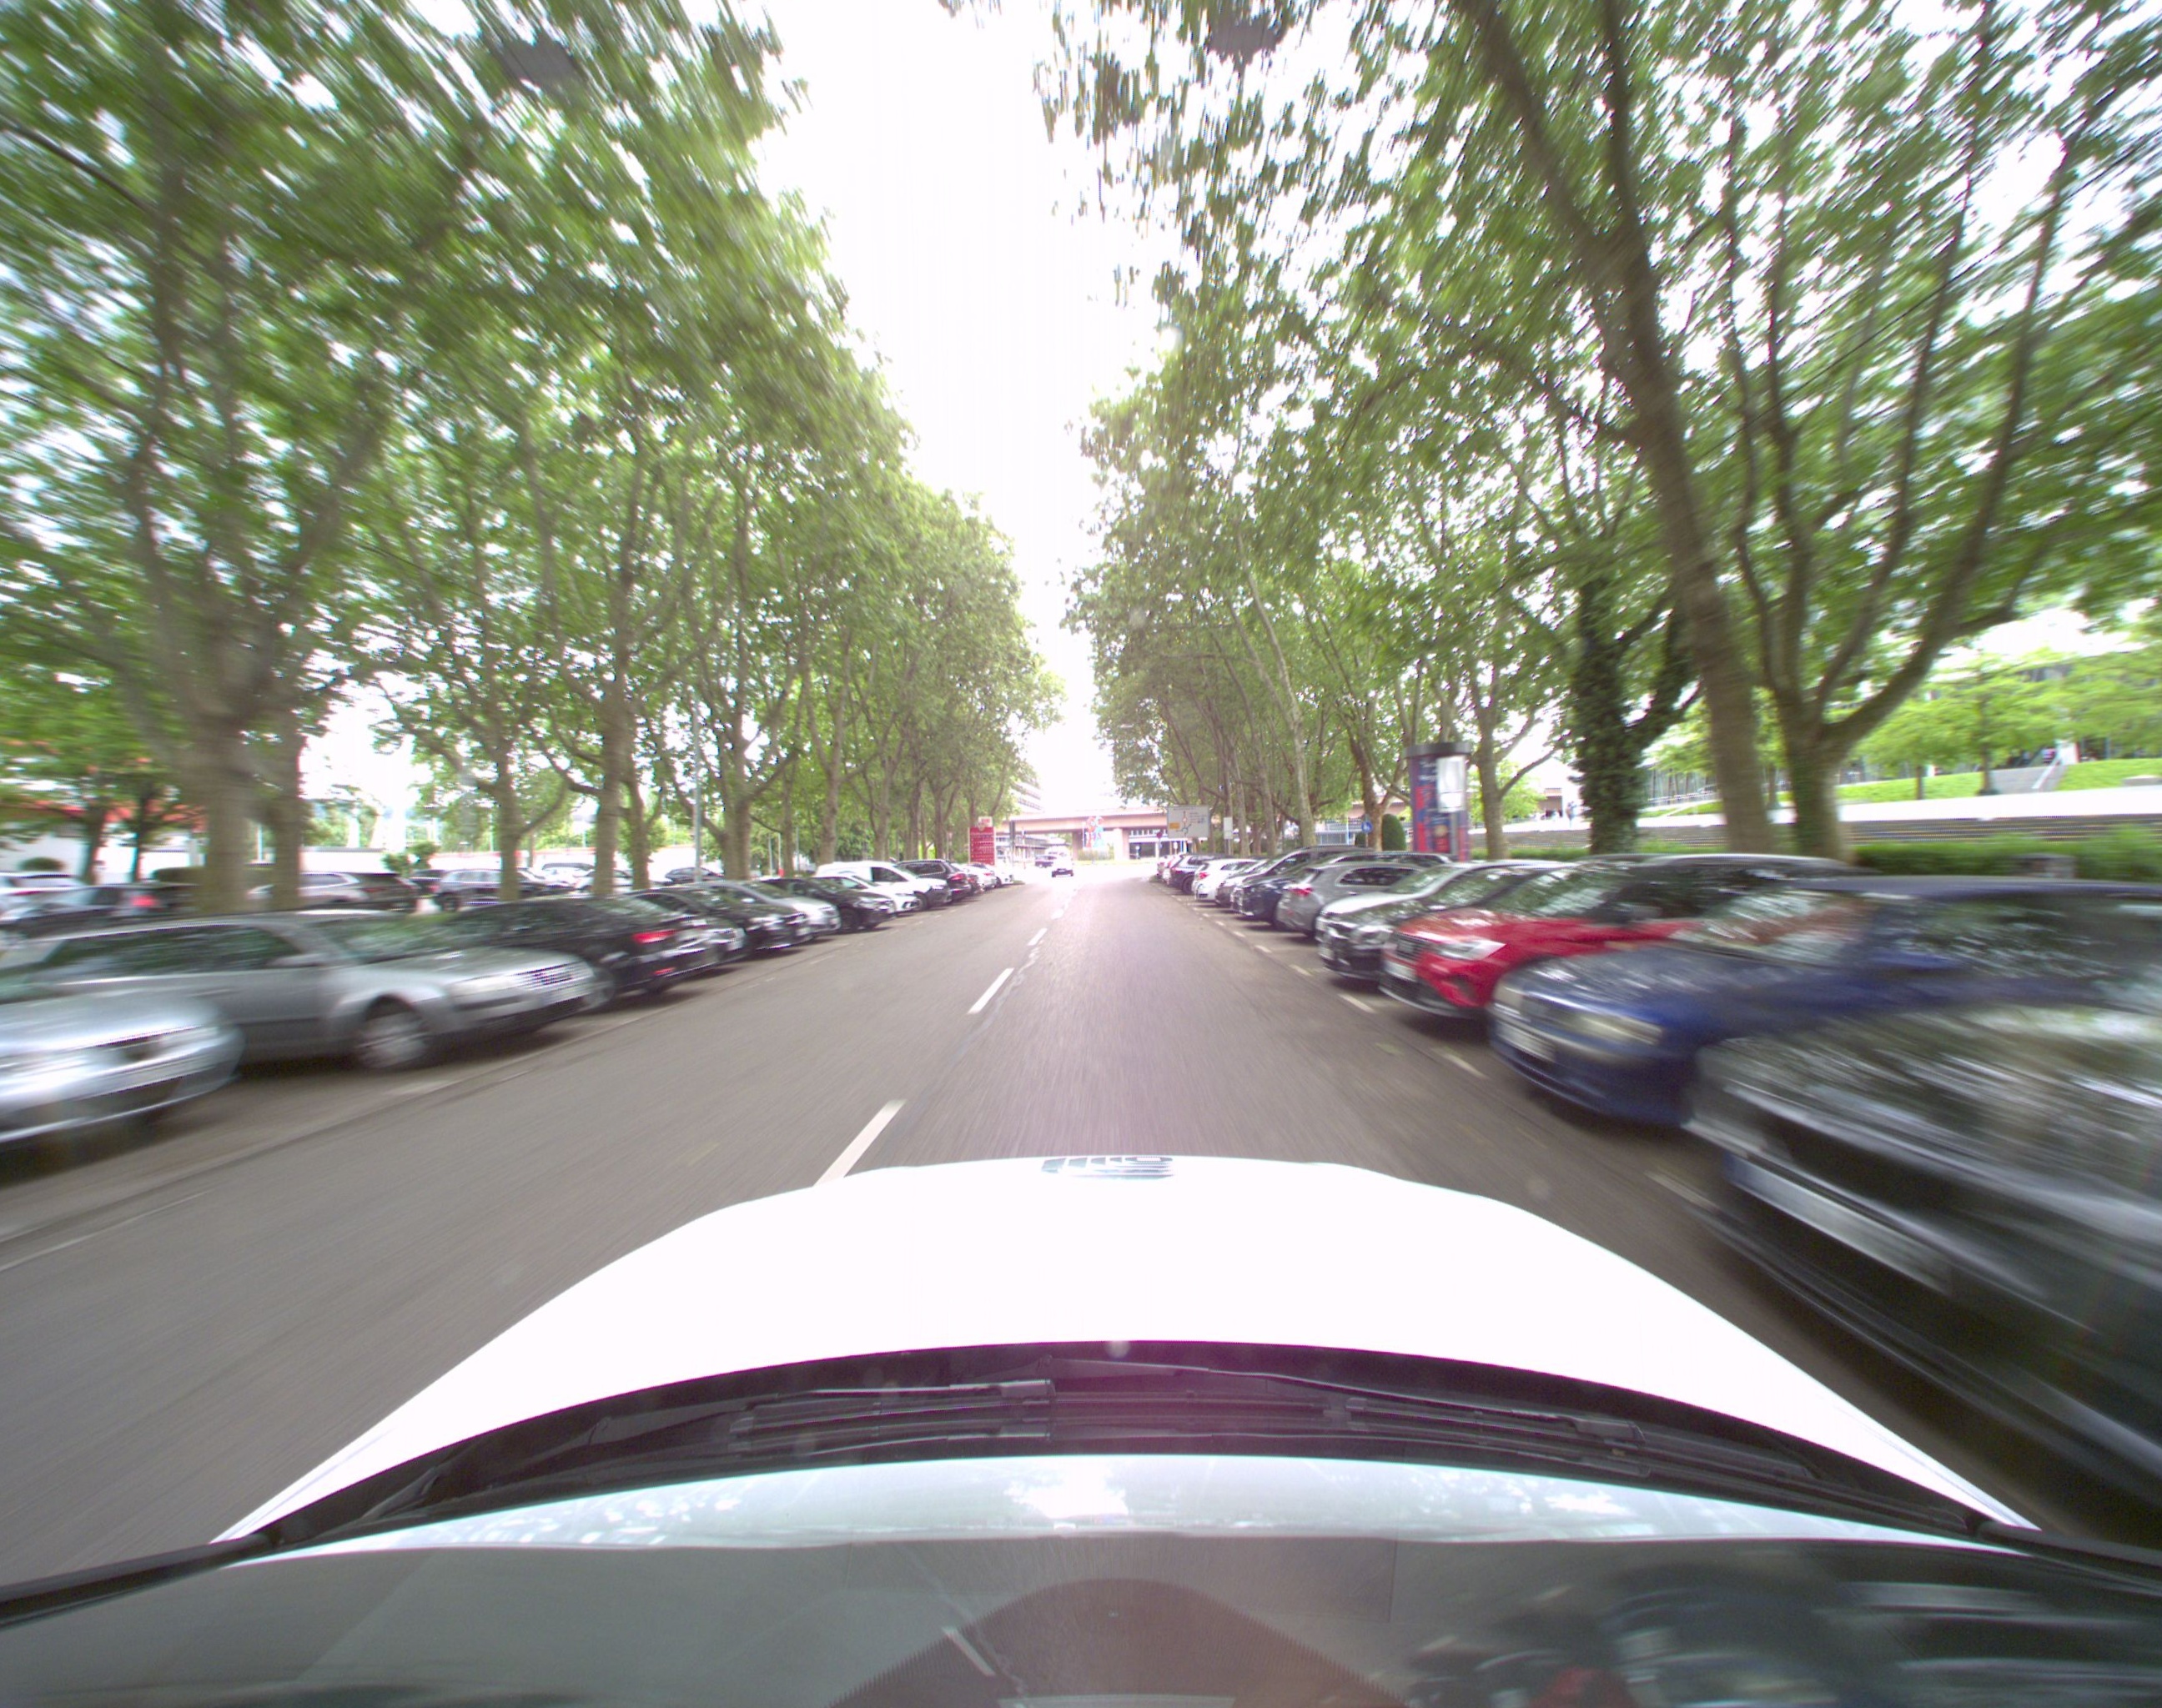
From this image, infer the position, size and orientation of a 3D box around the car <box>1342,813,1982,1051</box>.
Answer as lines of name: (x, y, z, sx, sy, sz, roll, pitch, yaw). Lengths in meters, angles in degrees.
car: (4.939, 0.574, 7.371, 4.488, 1.796, 2.044, 0, 0, -5)

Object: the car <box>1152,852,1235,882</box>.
car: (6.135, 0.695, 44.656, 4.329, 1.633, 1.926, 0, 0, 2)

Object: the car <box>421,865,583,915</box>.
car: (-22.076, 1.334, 31.200, 4.503, 1.762, 2.296, -1, -1, 0)

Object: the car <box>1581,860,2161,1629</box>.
car: (4.305, 0.734, 2.395, 4.478, 1.428, 1.933, 0, 0, 2)

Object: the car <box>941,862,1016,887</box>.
car: (-5.975, 1.168, 47.729, 3.975, 1.385, 1.914, -1, -1, 5)

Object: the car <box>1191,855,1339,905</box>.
car: (5.473, 0.758, 24.611, 4.133, 1.458, 1.728, 0, 0, 2)

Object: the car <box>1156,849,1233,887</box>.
car: (6.145, 0.745, 44.533, 3.971, 2.013, 2.001, 0, 0, 2)

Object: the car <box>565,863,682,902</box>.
car: (-21.651, 1.330, 38.704, 4.306, 1.709, 2.132, -1, -1, 0)

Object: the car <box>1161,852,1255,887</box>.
car: (6.138, 0.730, 39.608, 4.329, 1.633, 1.926, 0, 0, 2)

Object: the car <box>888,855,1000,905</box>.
car: (-5.743, 1.058, 34.535, 4.301, 1.810, 1.868, -3, 0, 1)

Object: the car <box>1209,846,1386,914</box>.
car: (5.789, 0.661, 22.128, 4.332, 1.745, 1.837, 0, 0, -1)

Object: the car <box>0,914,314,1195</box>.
car: (-7.737, 1.243, 5.162, 3.918, 1.364, 1.827, -3, 0, 0)

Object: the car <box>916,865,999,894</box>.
car: (-6.450, 1.326, 42.803, 3.972, 1.405, 1.862, -1, -1, 1)

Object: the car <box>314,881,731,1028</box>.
car: (-6.723, 1.174, 10.132, 3.918, 1.398, 1.703, -3, 0, 0)

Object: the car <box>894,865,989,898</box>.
car: (-6.350, 1.263, 37.435, 3.974, 1.404, 1.885, -1, -1, 0)

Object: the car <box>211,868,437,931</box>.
car: (-22.377, 1.307, 24.248, 4.536, 1.725, 2.296, -1, -1, 0)

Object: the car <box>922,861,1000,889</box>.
car: (-6.608, 1.146, 45.208, 3.979, 1.493, 1.833, -1, -1, 1)

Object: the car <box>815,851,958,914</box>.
car: (-6.487, 0.923, 27.575, 4.307, 1.810, 1.866, -3, 0, -2)

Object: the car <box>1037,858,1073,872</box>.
car: (-3.737, 1.604, 118.009, 4.734, 2.014, 2.292, -1, -1, 13)

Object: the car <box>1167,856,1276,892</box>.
car: (5.914, 0.831, 34.664, 4.332, 1.456, 1.949, 0, 0, 0)

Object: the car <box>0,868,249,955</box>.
car: (-22.596, 1.294, 18.987, 4.306, 1.861, 2.028, -1, -1, 0)

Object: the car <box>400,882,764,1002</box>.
car: (-7.601, 1.307, 12.743, 4.449, 1.366, 1.859, -4, 0, 0)

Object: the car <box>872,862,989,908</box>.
car: (-5.951, 1.218, 32.522, 4.111, 1.452, 2.015, -4, 0, 3)

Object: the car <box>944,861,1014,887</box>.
car: (-6.226, 1.235, 50.146, 3.977, 1.540, 1.806, -1, -1, 3)

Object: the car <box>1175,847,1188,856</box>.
car: (22.593, -0.485, 182.458, 1.977, 2.014, 4.019, -1, -1, 19)

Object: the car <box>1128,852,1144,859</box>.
car: (13.302, 0.309, 196.973, 1.975, 1.772, 4.024, -2, -1, 43)

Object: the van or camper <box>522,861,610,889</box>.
van or camper: (-33.234, 1.337, 52.670, 4.306, 1.709, 2.132, -1, -1, 0)

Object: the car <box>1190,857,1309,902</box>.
car: (5.559, 0.817, 27.153, 3.629, 1.427, 1.664, 0, 0, -2)

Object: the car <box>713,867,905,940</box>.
car: (-6.549, 1.174, 19.882, 3.960, 1.421, 1.758, -4, 0, 4)

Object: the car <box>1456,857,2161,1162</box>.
car: (4.840, 0.739, 4.751, 4.476, 1.420, 1.830, 0, 0, 3)

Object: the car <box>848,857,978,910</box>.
car: (-6.126, 1.063, 30.084, 4.301, 1.795, 2.037, -1, -1, 1)

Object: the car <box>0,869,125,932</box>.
car: (-33.270, 1.427, 25.378, 4.554, 1.855, 2.301, -1, -1, 6)

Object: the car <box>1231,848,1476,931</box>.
car: (5.555, 0.705, 17.080, 4.571, 1.639, 1.874, 0, 0, 3)

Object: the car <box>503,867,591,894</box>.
car: (-32.904, 1.606, 50.251, 4.204, 1.548, 1.790, -1, -1, 0)

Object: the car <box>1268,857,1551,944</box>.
car: (5.697, 0.785, 14.570, 4.329, 1.413, 1.926, 0, 0, 2)

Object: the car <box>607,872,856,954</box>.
car: (-7.366, 1.228, 17.488, 4.447, 1.369, 1.880, -3, 0, 1)

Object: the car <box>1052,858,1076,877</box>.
car: (-1.405, 1.125, 67.451, 1.836, 1.510, 4.015, -1, -1, 0)

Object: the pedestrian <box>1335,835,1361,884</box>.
pedestrian: (11.129, 0.231, 33.937, 0.786, 2.014, 0.596, -1, -1, -15)

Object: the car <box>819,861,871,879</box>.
car: (-20.981, 1.454, 72.542, 3.972, 1.523, 2.002, -1, -1, 2)

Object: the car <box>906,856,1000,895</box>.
car: (-6.235, 1.031, 40.059, 4.251, 1.548, 1.908, -4, -1, -1)

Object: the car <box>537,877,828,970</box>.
car: (-7.331, 1.265, 15.293, 4.444, 1.347, 1.903, -3, 0, 3)

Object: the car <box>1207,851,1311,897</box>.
car: (6.463, 0.710, 29.834, 3.423, 1.492, 1.680, -3, 0, 0)

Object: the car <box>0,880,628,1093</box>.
car: (-7.033, 1.142, 7.691, 4.449, 1.482, 1.703, -3, 0, 0)

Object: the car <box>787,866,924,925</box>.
car: (-6.793, 1.236, 24.878, 3.782, 1.472, 1.759, -3, 0, -9)

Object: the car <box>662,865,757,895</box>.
car: (-20.922, 1.449, 45.973, 4.306, 1.548, 2.204, -1, -1, 0)

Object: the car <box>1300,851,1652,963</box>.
car: (5.668, 0.726, 12.121, 4.331, 1.502, 1.926, 0, 0, 0)

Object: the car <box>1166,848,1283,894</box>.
car: (5.618, 0.653, 32.278, 4.332, 1.761, 1.925, 0, 0, 0)

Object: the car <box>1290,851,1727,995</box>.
car: (4.938, 0.733, 9.809, 4.338, 1.502, 1.923, 0, 0, -4)

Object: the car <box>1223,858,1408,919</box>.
car: (5.572, 0.810, 19.712, 4.025, 1.380, 1.744, 0, 0, 2)
